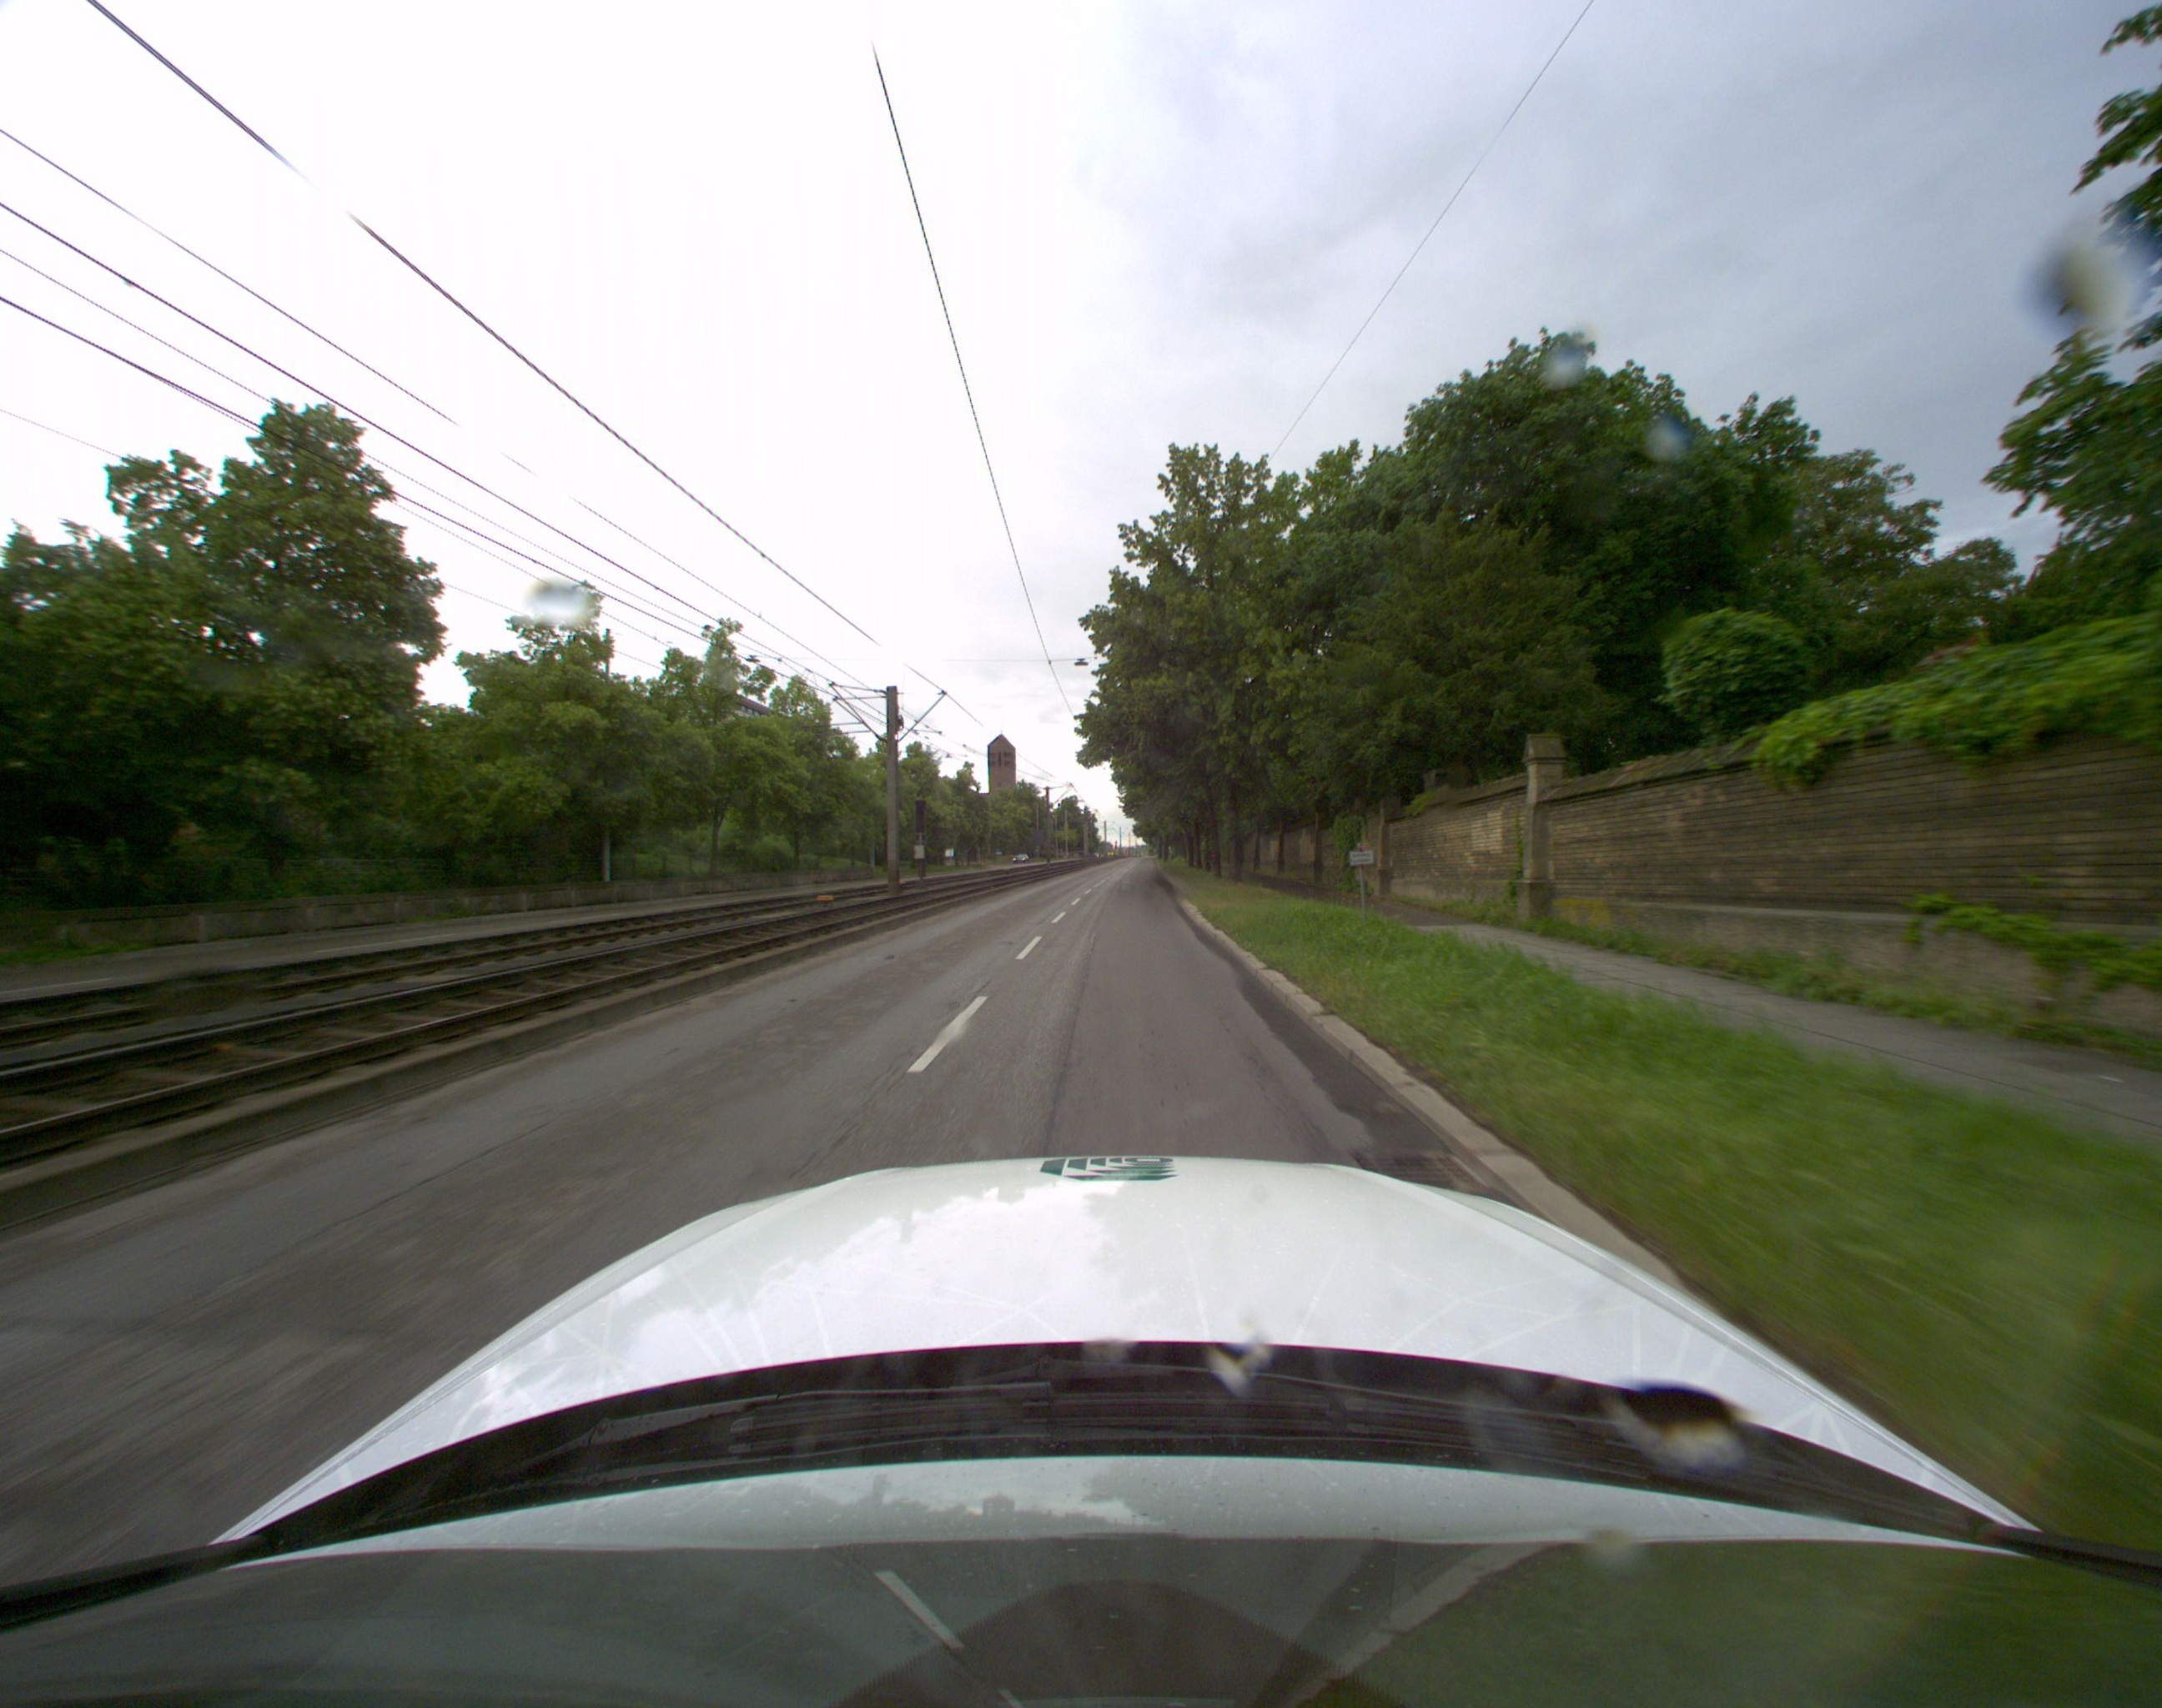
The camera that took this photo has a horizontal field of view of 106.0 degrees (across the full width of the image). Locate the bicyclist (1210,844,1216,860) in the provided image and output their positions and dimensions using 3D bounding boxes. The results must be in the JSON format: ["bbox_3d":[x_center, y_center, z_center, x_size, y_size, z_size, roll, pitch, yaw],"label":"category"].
[{"bbox_3d":[11.536,-0.153,71.109,0.532,1.389,0.668,-1,0,8],"label":"bicyclist"}]

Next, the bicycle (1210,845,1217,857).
[{"bbox_3d":[11.500,-0.255,70.913,0.539,0.948,2.555,-1,0,8],"label":"bicycle"}]

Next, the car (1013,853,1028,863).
[{"bbox_3d":[-9.465,0.677,128.103,1.787,1.530,4.626,-1,0,4],"label":"car"}]
